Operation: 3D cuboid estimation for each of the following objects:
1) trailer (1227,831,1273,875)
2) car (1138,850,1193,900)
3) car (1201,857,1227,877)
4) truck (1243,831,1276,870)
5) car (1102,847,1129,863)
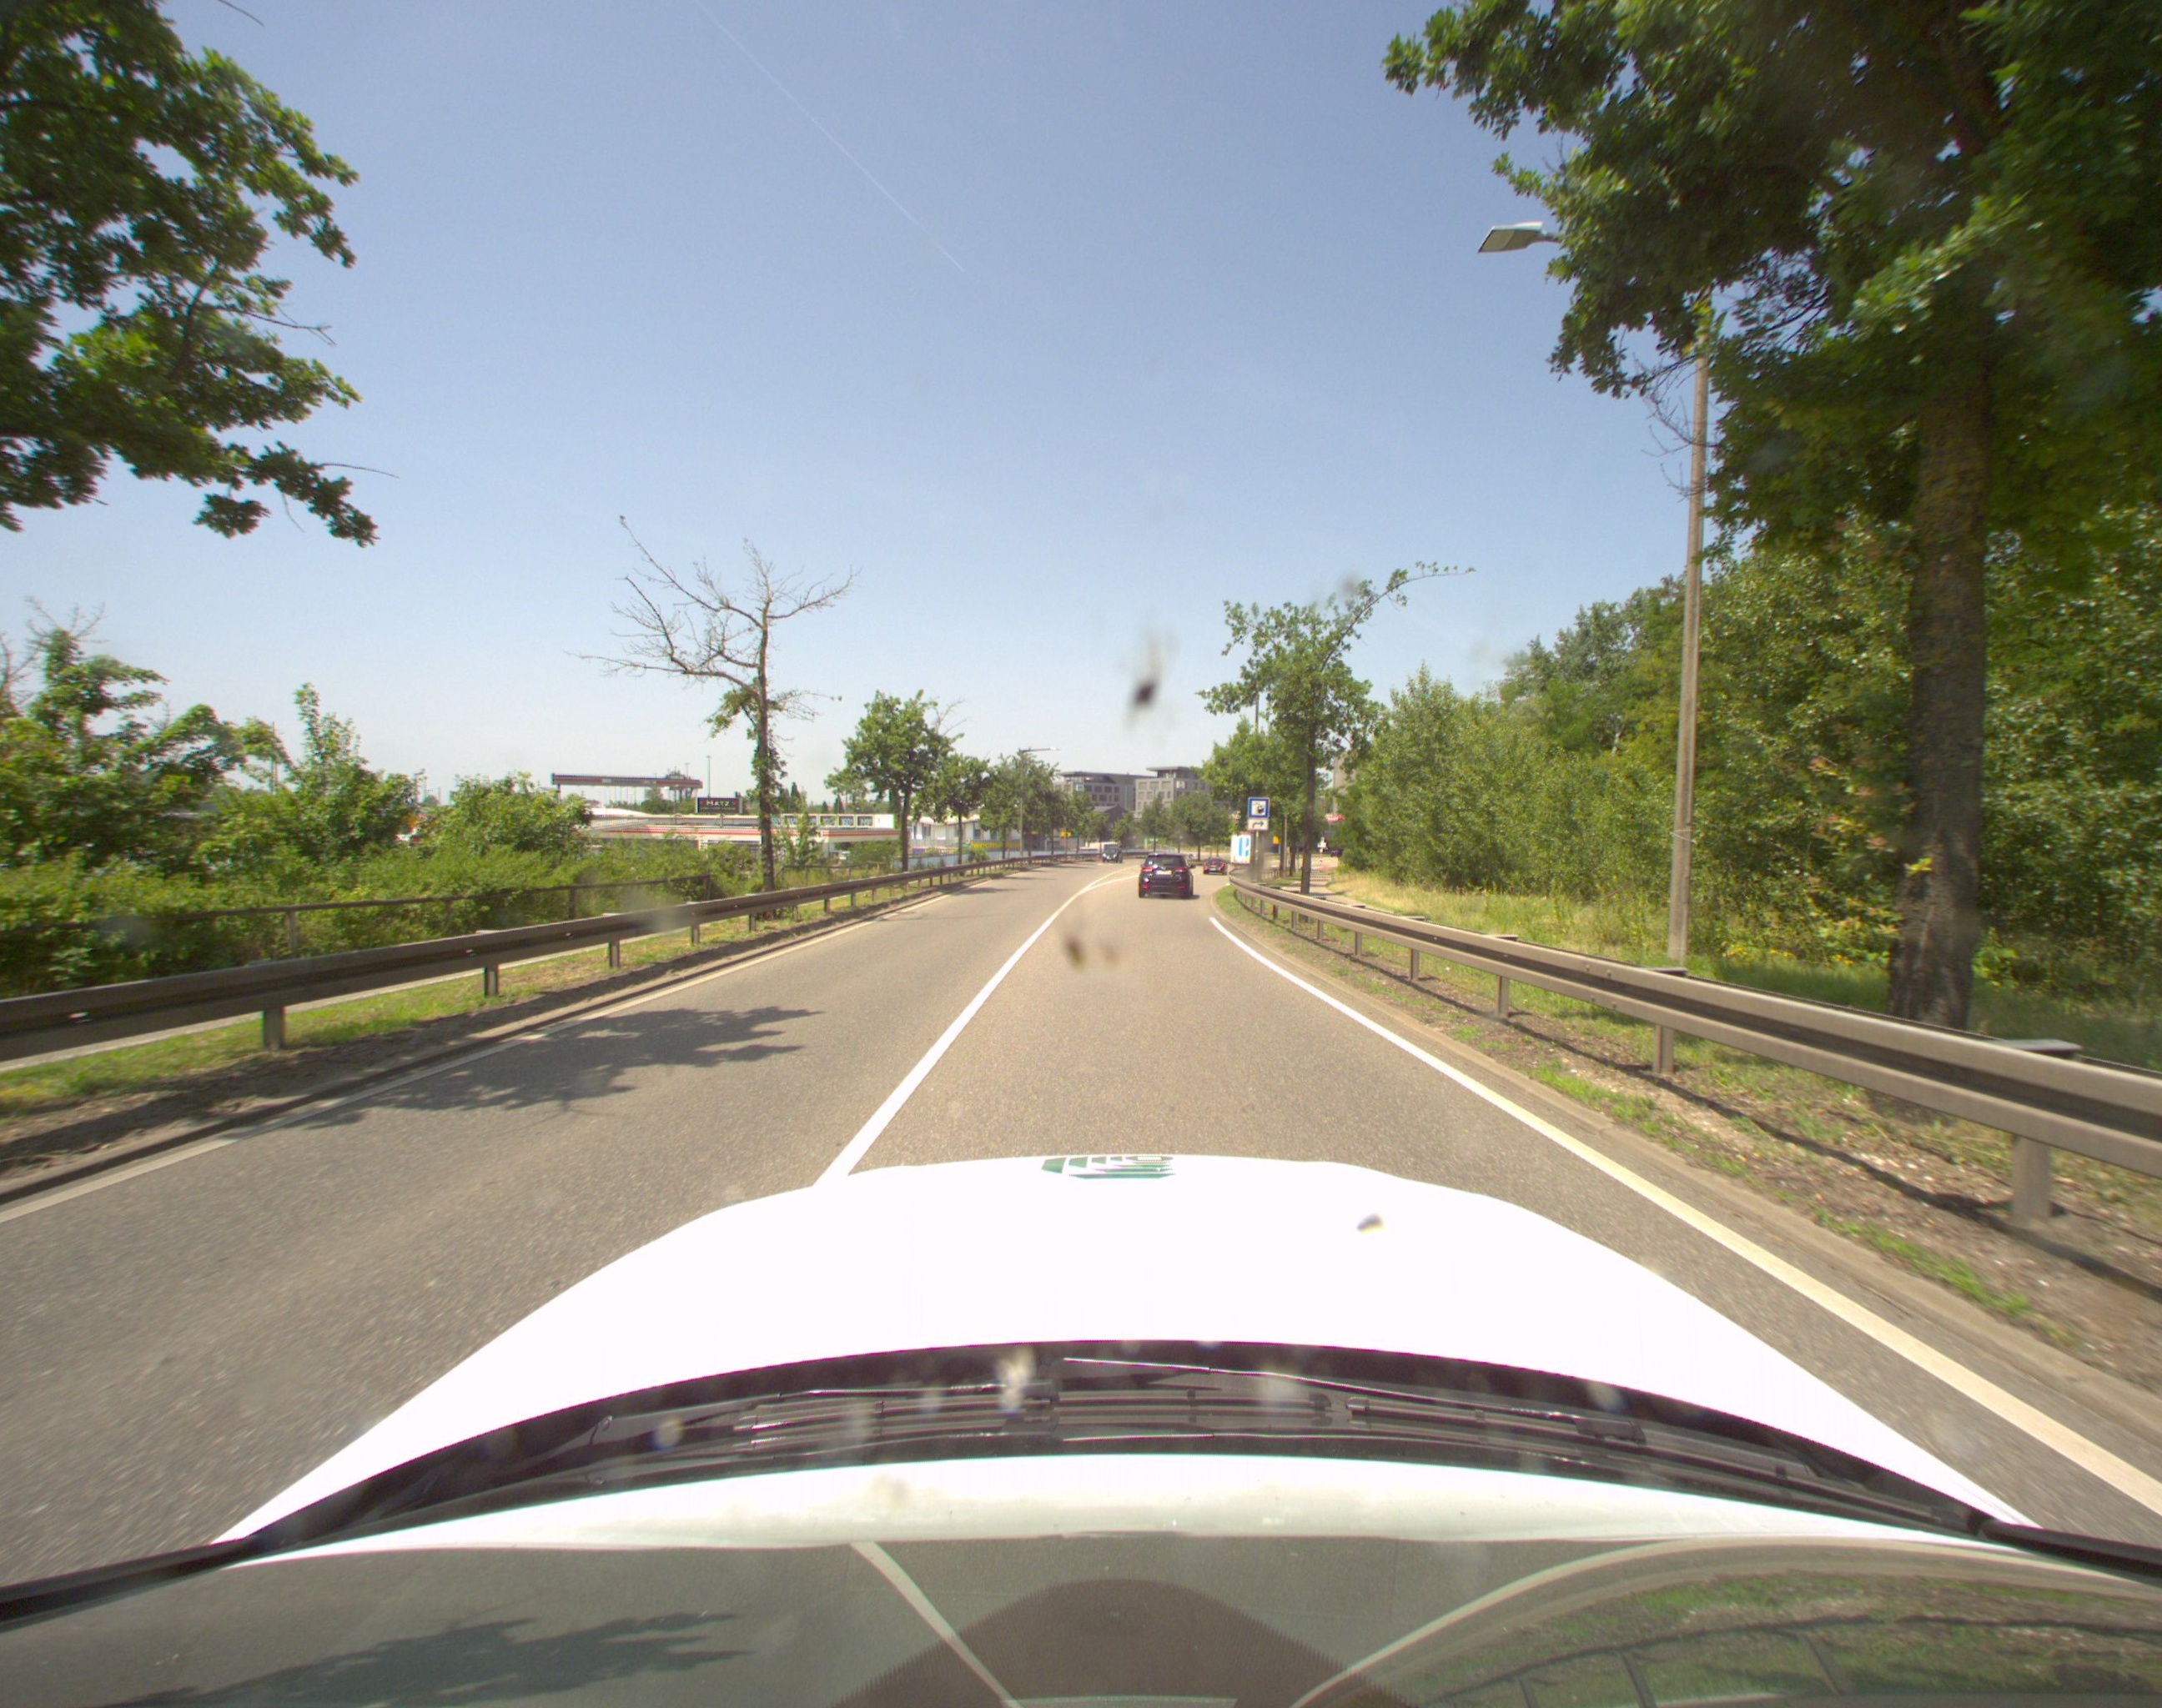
[{"bbox_3d":[18.566,-0.241,88.571,3.053,4.367,14.846,1,2,19],"label":"trailer"},{"bbox_3d":[3.095,0.729,29.060,1.757,1.599,4.086,2,0,8],"label":"car"},{"bbox_3d":[10.999,1.039,67.017,1.944,1.633,4.294,0,0,12],"label":"car"},{"bbox_3d":[21.181,-0.450,96.275,3.051,4.367,6.108,1,2,18],"label":"truck"},{"bbox_3d":[3.970,0.098,93.855,1.792,1.759,4.274,2,0,21],"label":"car"}]
